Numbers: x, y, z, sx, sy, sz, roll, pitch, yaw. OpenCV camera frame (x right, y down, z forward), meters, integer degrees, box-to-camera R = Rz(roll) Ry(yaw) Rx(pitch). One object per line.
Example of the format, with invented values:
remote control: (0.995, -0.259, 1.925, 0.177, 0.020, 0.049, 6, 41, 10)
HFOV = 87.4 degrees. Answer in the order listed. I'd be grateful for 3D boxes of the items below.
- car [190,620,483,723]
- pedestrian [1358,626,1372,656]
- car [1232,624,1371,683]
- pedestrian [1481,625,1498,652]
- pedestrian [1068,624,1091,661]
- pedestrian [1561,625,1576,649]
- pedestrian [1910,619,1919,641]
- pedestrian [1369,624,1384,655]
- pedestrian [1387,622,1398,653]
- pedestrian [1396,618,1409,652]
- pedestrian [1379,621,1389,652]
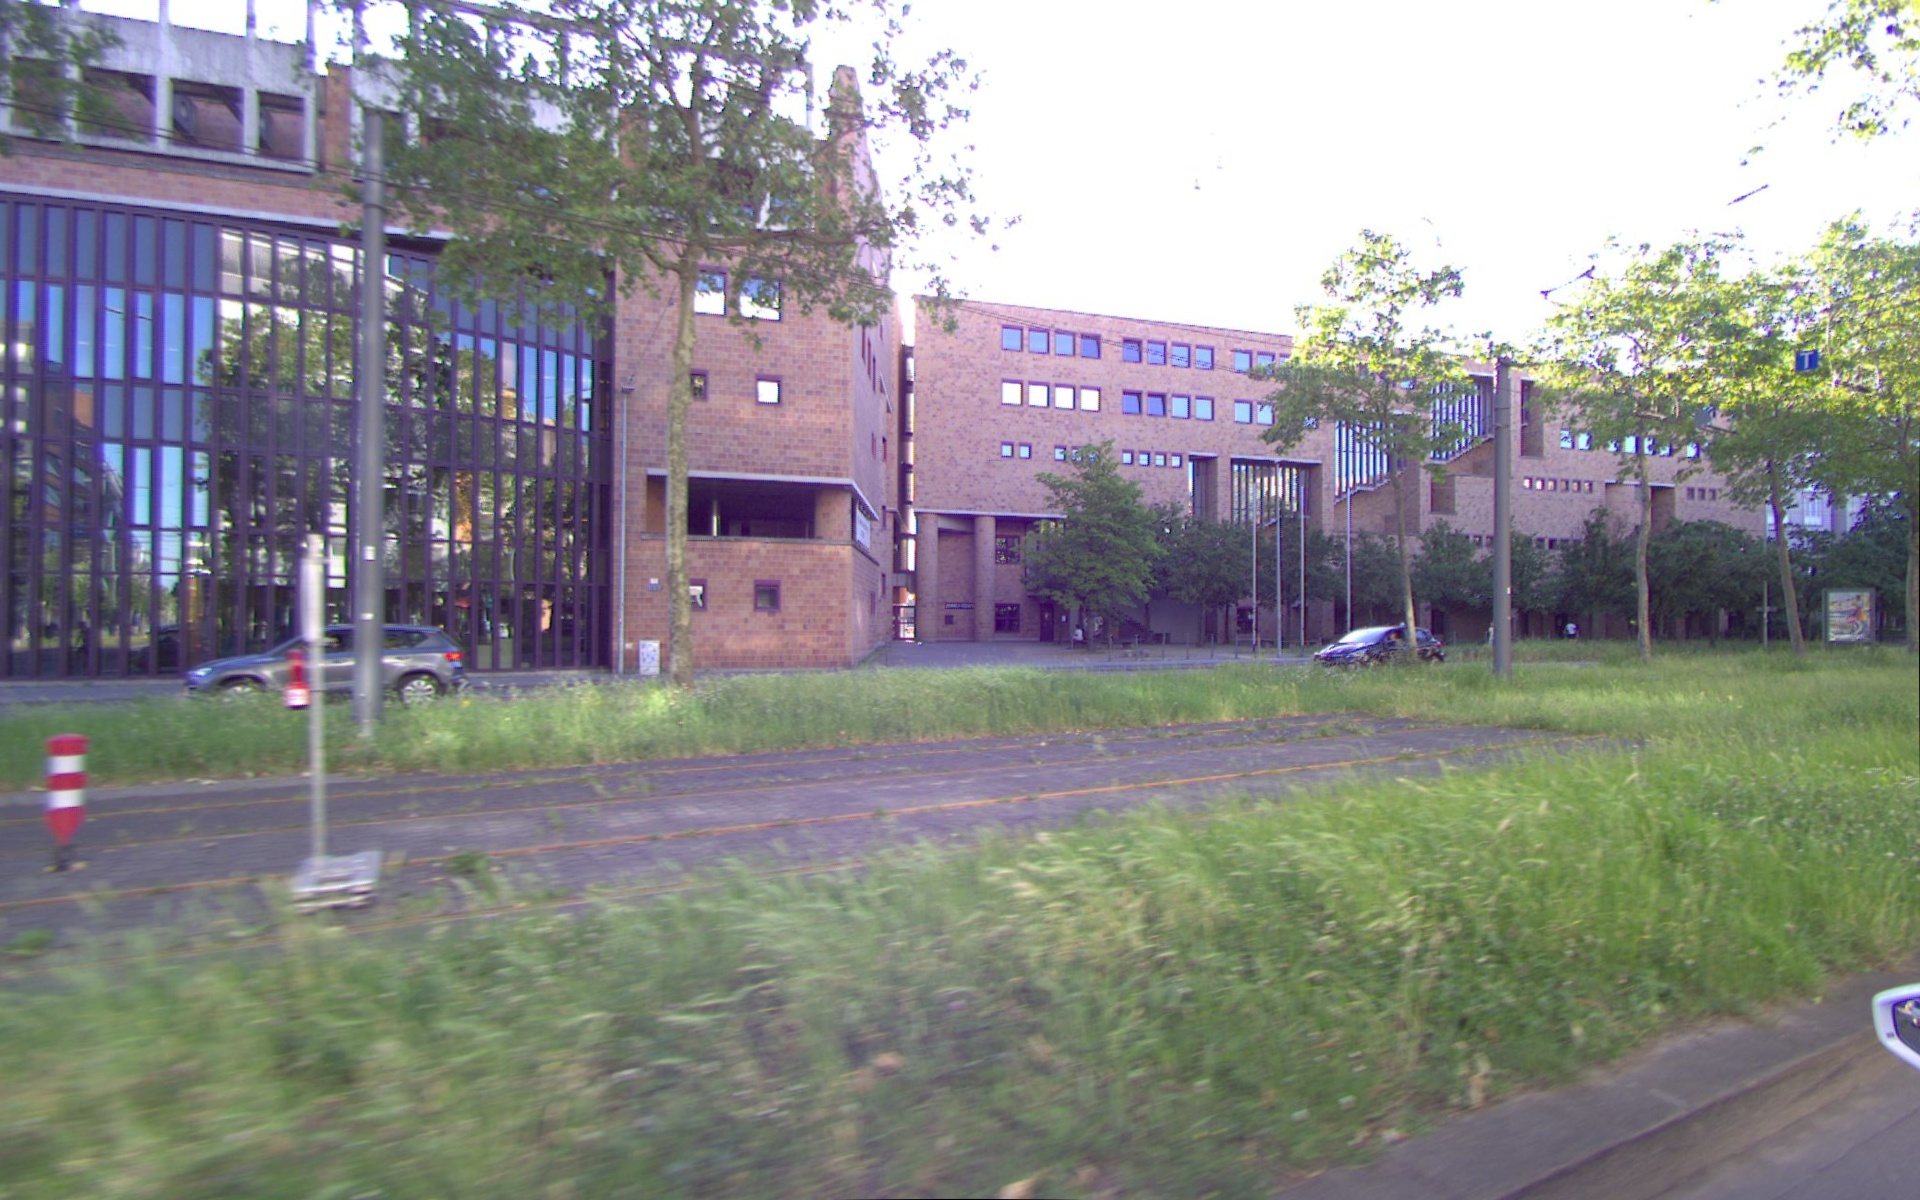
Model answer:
car: (-11.103, 1.192, 18.150, 4.295, 1.583, 1.812, -1, 0, -33)
pedestrian: (19.025, 1.928, 47.201, 0.452, 1.435, 0.390, 0, -1, -22)
car: (8.896, 1.326, 26.087, 3.697, 1.417, 1.582, 1, -1, -36)
pedestrian: (26.297, 1.912, 49.892, 0.514, 1.308, 0.501, 0, -1, -24)
pedestrian: (6.247, 2.186, 52.381, 0.867, 1.906, 0.976, 0, -1, -19)
pedestrian: (33.218, 2.011, 54.850, 0.514, 1.308, 0.501, 0, -1, -24)
pedestrian: (69.074, 2.169, 72.399, 0.667, 1.541, 0.630, 0, -1, -14)
pedestrian: (19.278, 1.837, 46.509, 0.477, 1.435, 0.390, 0, -1, -21)
pedestrian: (20.447, 1.765, 47.524, 0.337, 1.476, 0.317, 0, -1, -23)
pedestrian: (20.731, 1.639, 47.049, 0.417, 1.543, 0.364, 0, -1, -21)
pedestrian: (20.213, 1.727, 47.929, 0.311, 1.476, 0.292, 0, -1, -23)
